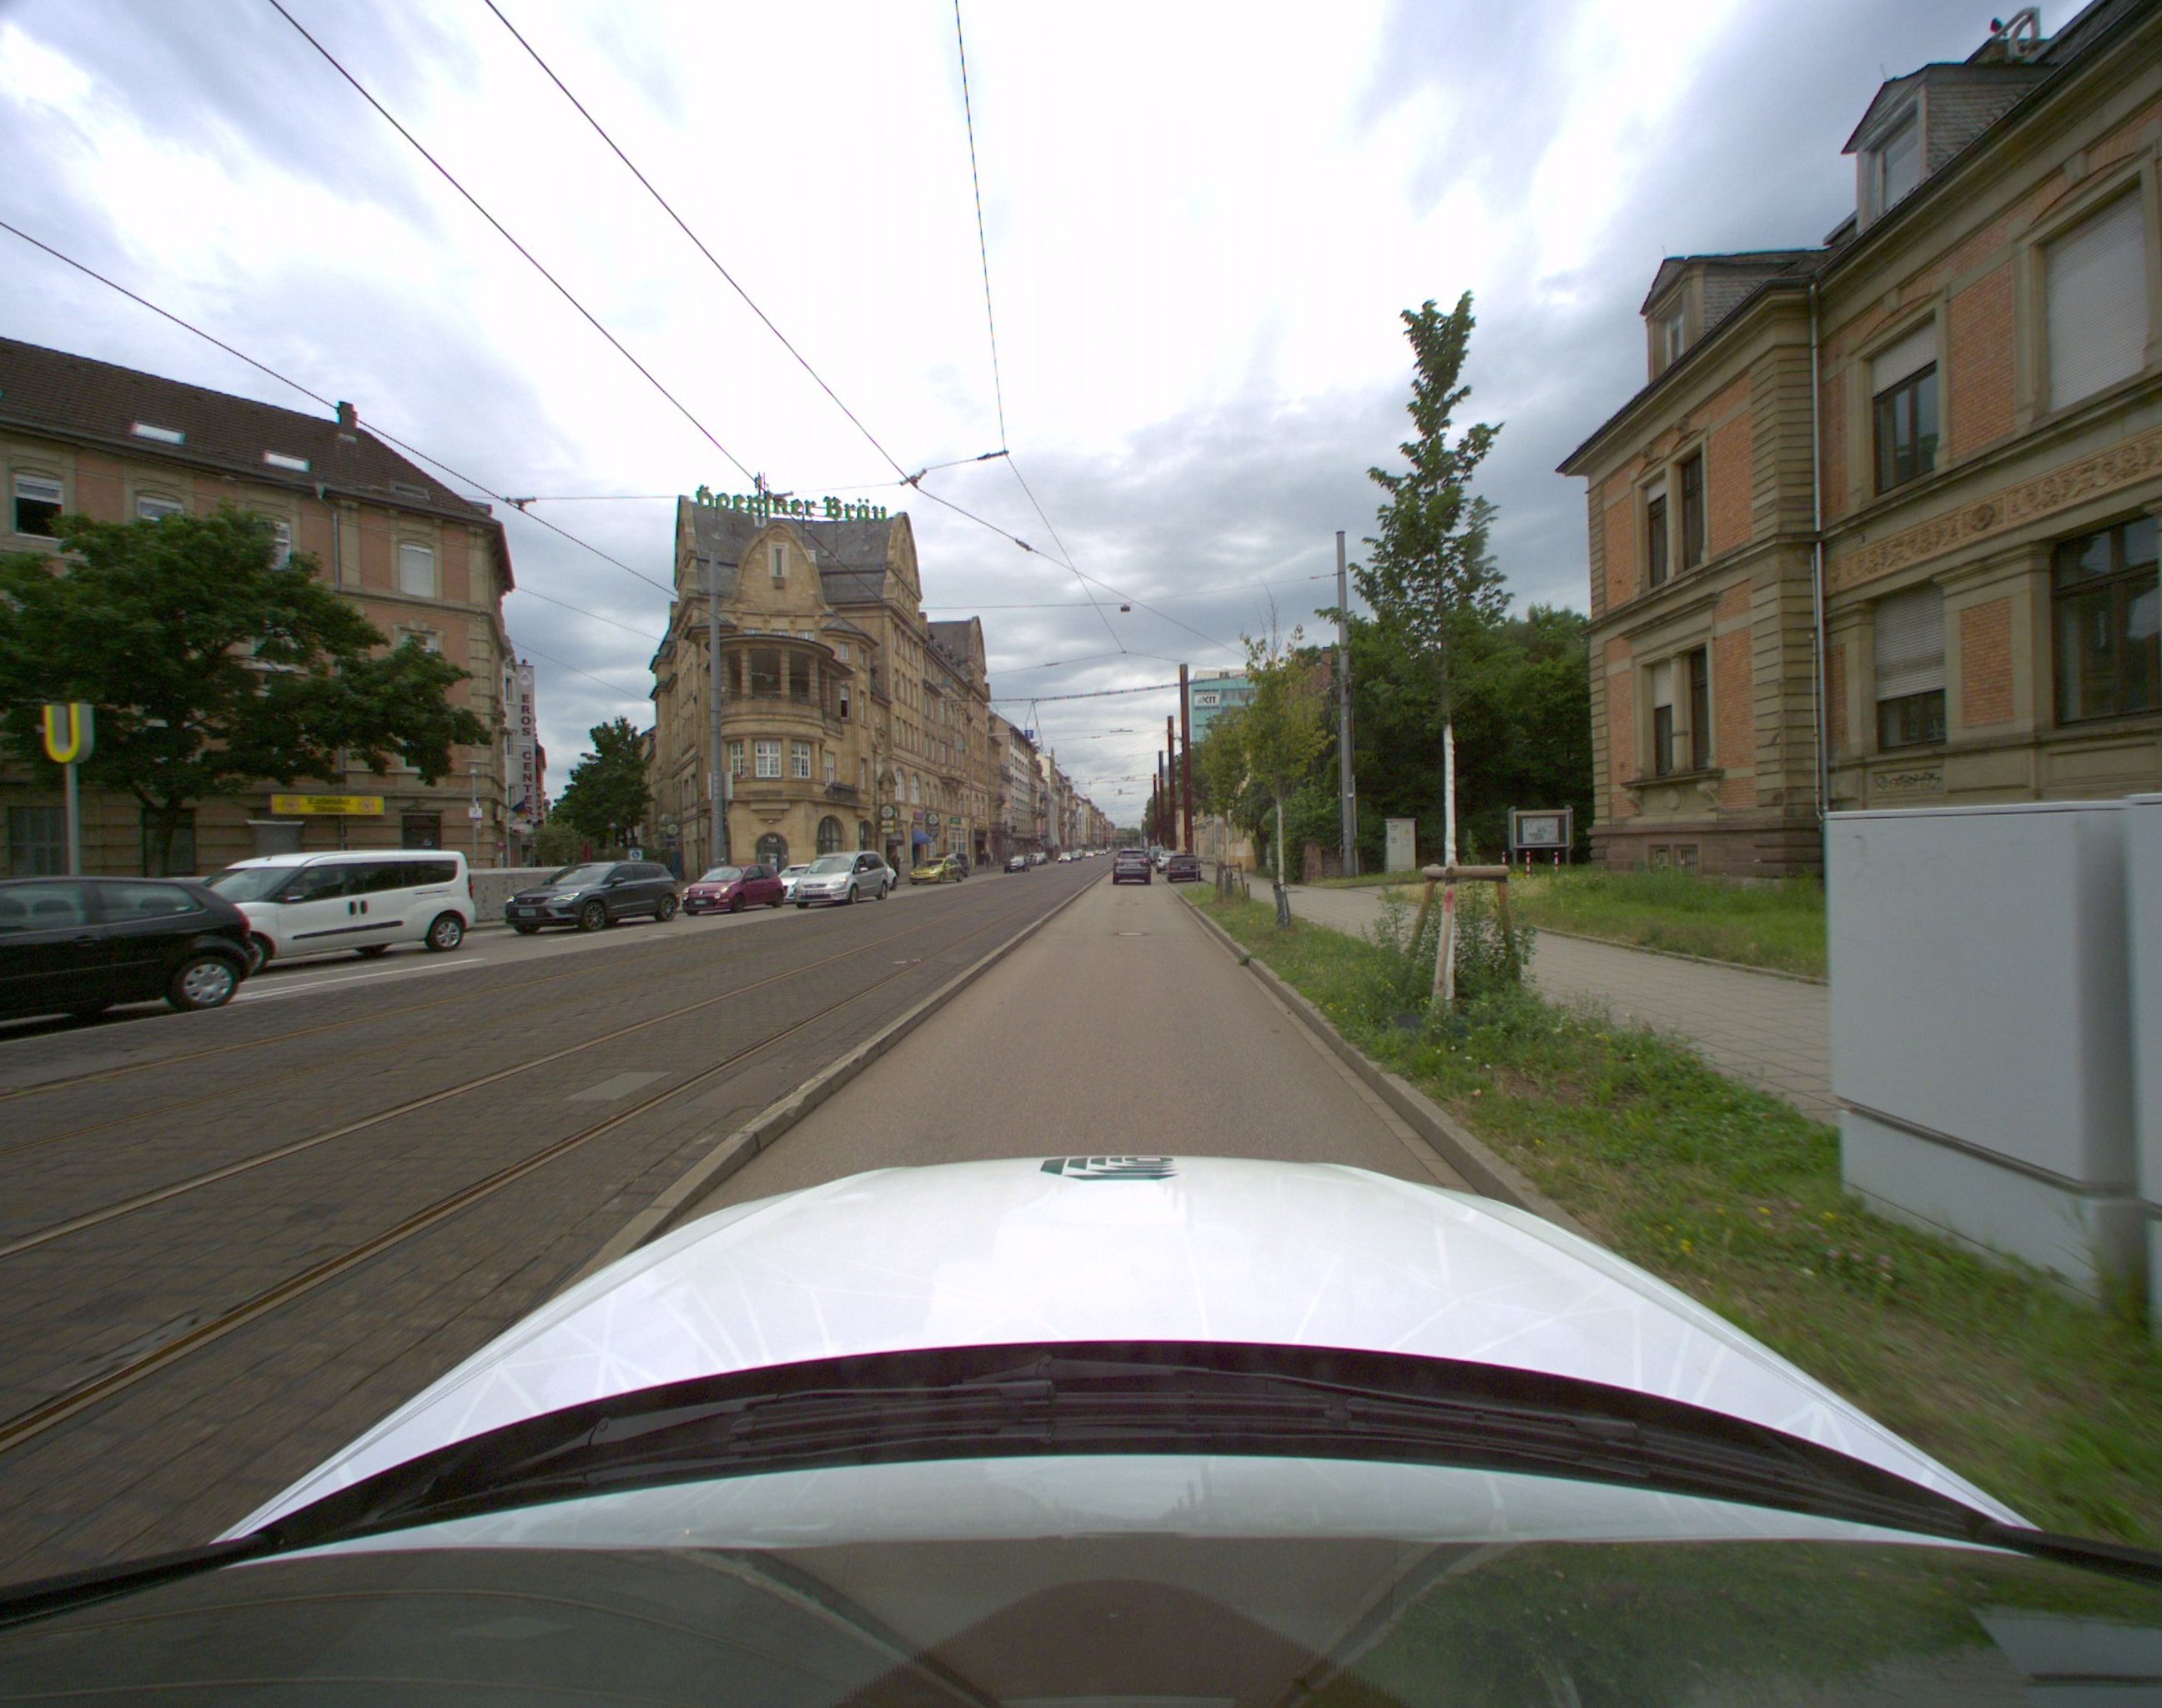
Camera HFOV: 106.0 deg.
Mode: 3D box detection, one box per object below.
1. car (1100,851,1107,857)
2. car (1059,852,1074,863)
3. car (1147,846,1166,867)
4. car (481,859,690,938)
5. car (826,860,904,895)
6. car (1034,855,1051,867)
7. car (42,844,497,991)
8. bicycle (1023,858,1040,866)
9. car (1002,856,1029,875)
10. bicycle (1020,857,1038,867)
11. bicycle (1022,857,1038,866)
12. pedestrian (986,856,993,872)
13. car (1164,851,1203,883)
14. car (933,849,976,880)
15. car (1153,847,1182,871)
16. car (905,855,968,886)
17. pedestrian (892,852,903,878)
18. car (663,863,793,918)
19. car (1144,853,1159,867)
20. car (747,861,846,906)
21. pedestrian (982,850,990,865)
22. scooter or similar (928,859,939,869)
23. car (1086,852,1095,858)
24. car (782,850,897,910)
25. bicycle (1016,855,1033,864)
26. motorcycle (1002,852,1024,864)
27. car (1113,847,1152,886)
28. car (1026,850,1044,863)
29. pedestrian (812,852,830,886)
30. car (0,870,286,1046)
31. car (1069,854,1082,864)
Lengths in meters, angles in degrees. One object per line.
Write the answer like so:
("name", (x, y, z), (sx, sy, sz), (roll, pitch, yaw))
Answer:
("car", (6.962, 0.048, 253.130), (1.987, 1.635, 4.000), (-1, -1, 0))
("car", (-2.068, 0.499, 116.409), (1.751, 1.449, 4.619), (-1, 0, 4))
("car", (8.291, 0.234, 90.034), (1.843, 2.115, 4.989), (-4, 0, 3))
("car", (-11.592, 0.977, 19.476), (1.852, 1.534, 4.312), (-3, 0, 8))
("car", (-9.571, 1.024, 36.440), (1.916, 1.380, 4.266), (-1, 0, 7))
("car", (-5.210, 0.934, 111.269), (1.768, 1.504, 4.406), (-1, 0, 3))
("car", (-12.567, 0.824, 13.290), (1.852, 1.916, 5.113), (-1, 0, 8))
("bicycle", (-6.099, 0.964, 100.249), (1.962, 1.001, 0.462), (-1, 0, -5))
("car", (-5.418, 0.919, 68.072), (1.821, 1.433, 4.665), (-3, 0, -1))
("bicycle", (-6.456, 0.967, 100.991), (2.226, 1.126, 0.503), (-1, 0, -5))
("bicycle", (-6.225, 0.906, 99.284), (1.962, 1.001, 0.462), (-1, 0, -5))
("pedestrian", (-9.341, 1.036, 82.729), (0.565, 1.598, 0.719), (-1, 0, 3))
("car", (5.220, 0.645, 41.733), (1.630, 1.433, 3.934), (-3, 0, 3))
("car", (-8.787, 0.693, 57.029), (1.891, 1.977, 5.102), (-3, 0, 3))
("car", (6.159, 0.332, 58.281), (1.748, 1.574, 3.934), (-3, 0, 3))
("car", (-8.088, 0.876, 46.044), (1.886, 1.511, 4.444), (-2, 0, 13))
("pedestrian", (-12.030, 0.717, 53.498), (0.493, 1.728, 0.765), (-1, 0, 0))
("car", (-10.728, 1.055, 25.091), (1.853, 1.399, 3.903), (-3, 0, 7))
("car", (9.076, 0.741, 104.722), (1.742, 1.596, 3.927), (-4, 0, 3))
("car", (-10.444, 1.048, 30.249), (1.738, 1.380, 4.368), (-4, 0, 5))
("pedestrian", (-10.315, 0.422, 88.287), (0.682, 1.613, 0.742), (-1, 0, 3))
("scooter or similar", (-12.010, 0.837, 66.307), (0.579, 0.802, 1.347), (-1, 0, 4))
("car", (2.105, 0.233, 180.492), (1.680, 1.420, 4.139), (-1, 0, 3))
("car", (-7.705, 0.754, 26.558), (1.854, 1.706, 4.916), (-2, 0, 5))
("bicycle", (-6.599, 0.658, 95.642), (1.962, 1.001, 0.462), (-1, 0, -5))
("motorcycle", (-7.660, 0.466, 92.163), (2.353, 1.302, 0.874), (-1, 0, -33))
("car", (2.497, 0.564, 39.524), (1.742, 1.755, 3.928), (1, 0, 4))
("car", (-5.859, 0.285, 104.558), (1.768, 1.504, 4.406), (-1, 0, 3))
("pedestrian", (-13.125, 0.765, 41.133), (0.624, 1.719, 0.536), (-1, 0, 30))
("car", (-10.012, 0.928, 7.233), (1.679, 1.442, 4.008), (-1, 0, 7))
("car", (-0.907, 0.789, 135.558), (1.751, 1.671, 4.619), (-1, 0, 4))
